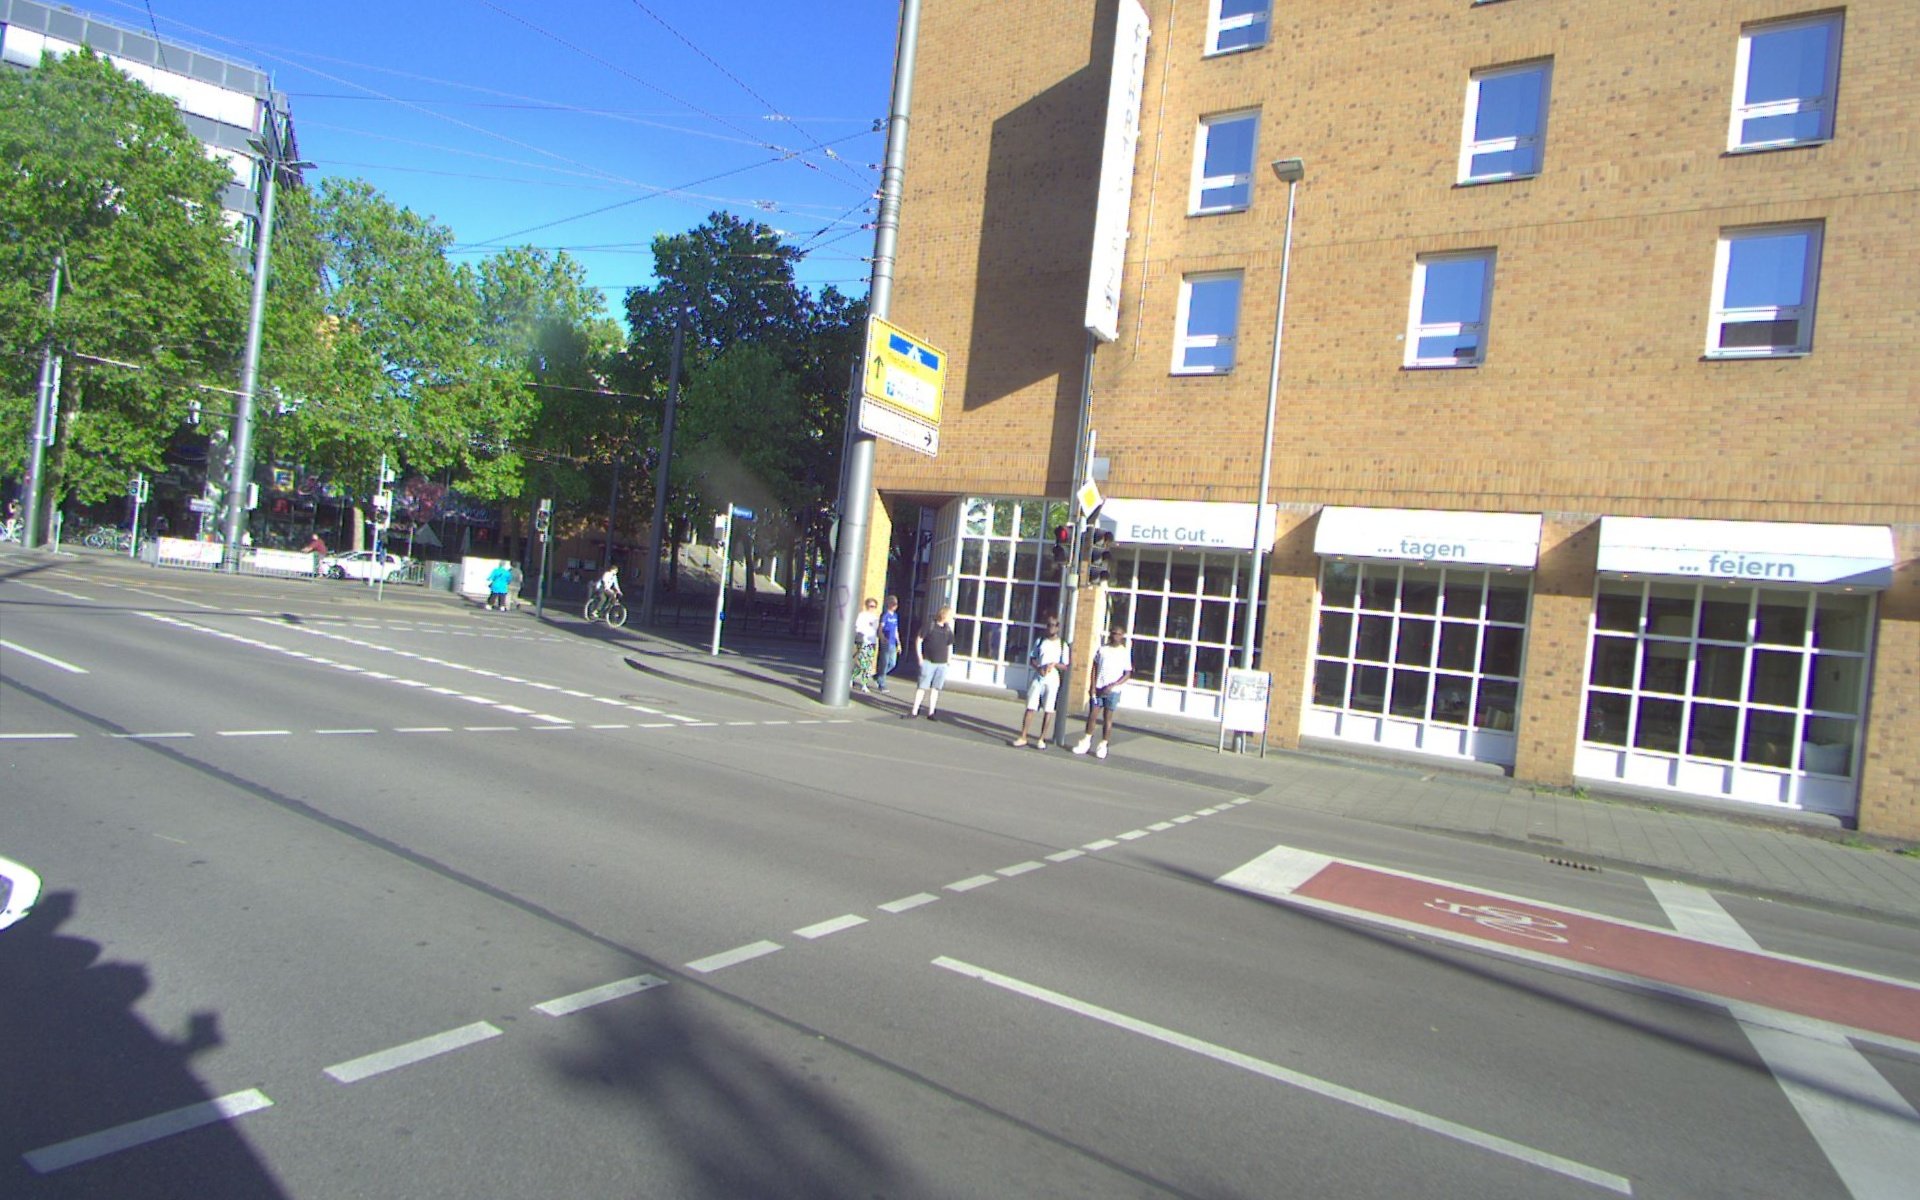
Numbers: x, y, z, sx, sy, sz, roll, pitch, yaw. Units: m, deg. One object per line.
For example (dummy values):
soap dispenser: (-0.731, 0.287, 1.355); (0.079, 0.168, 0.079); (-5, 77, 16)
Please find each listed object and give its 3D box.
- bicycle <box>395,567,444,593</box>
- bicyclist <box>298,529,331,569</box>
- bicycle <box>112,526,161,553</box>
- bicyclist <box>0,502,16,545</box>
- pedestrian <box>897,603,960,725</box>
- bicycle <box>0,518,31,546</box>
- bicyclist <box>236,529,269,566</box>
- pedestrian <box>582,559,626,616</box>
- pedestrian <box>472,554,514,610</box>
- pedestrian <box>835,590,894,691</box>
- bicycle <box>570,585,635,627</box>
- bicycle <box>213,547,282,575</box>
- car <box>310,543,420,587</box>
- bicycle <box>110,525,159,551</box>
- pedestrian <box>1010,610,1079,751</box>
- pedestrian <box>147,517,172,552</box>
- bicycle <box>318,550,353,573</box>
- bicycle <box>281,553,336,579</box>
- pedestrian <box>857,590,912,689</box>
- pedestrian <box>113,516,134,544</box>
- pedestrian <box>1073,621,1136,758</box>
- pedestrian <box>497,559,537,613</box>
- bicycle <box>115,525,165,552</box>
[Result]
bicycle: (-30.270, -1.100, 56.431); (0.861, 1.250, 2.934); (7, -1, 5)
bicyclist: (-28.569, -2.270, 44.516); (0.627, 1.635, 0.926); (6, 0, 35)
bicycle: (-38.347, -2.825, 46.862); (0.386, 0.998, 1.701); (7, 0, 45)
bicyclist: (-39.992, -3.223, 41.982); (0.562, 1.715, 0.741); (6, 0, 43)
pedestrian: (-0.489, 0.975, 15.557); (0.683, 1.789, 0.573); (7, 0, -10)
bicycle: (-40.043, -2.884, 41.954); (0.509, 1.034, 1.849); (6, -1, 42)
bicyclist: (-39.812, -2.942, 56.637); (1.216, 1.955, 0.829); (7, 0, -28)
pedestrian: (-11.016, -0.388, 31.173); (0.824, 1.612, 0.771); (6, -1, 31)
pedestrian: (-14.149, -0.542, 30.511); (0.729, 1.557, 0.677); (6, -1, 24)
pedestrian: (-1.708, 0.731, 18.007); (0.648, 1.723, 0.562); (6, -1, 31)
bicycle: (-11.067, 0.182, 31.142); (1.891, 1.064, 0.791); (6, -2, 32)
bicycle: (-40.040, -2.189, 56.572); (3.015, 1.127, 0.829); (8, -1, -28)
car: (-28.428, -1.655, 48.147); (1.969, 1.503, 3.991); (5, -3, 36)
bicycle: (-38.987, -2.918, 47.522); (0.386, 0.998, 1.701); (7, 0, 45)
pedestrian: (1.165, 1.100, 13.939); (0.719, 1.857, 0.497); (5, 1, -4)
pedestrian: (-46.674, -3.812, 58.684); (0.842, 1.873, 0.803); (9, -2, -34)
bicycle: (-35.093, -2.147, 56.586); (0.865, 1.104, 2.922); (7, -1, -17)
bicycle: (-28.729, -1.484, 44.380); (0.642, 0.921, 1.854); (6, -1, 35)
pedestrian: (-1.392, 0.732, 18.548); (0.593, 1.747, 0.603); (6, -1, 32)
pedestrian: (-49.495, -4.137, 59.529); (0.771, 1.546, 0.558); (6, 0, -36)
pedestrian: (1.967, 1.211, 13.755); (0.402, 1.797, 0.572); (4, 2, -41)
pedestrian: (-13.807, -0.426, 31.344); (0.729, 1.557, 0.652); (6, -1, 24)
bicycle: (-37.724, -2.804, 46.284); (0.386, 0.998, 1.701); (7, 0, 45)
